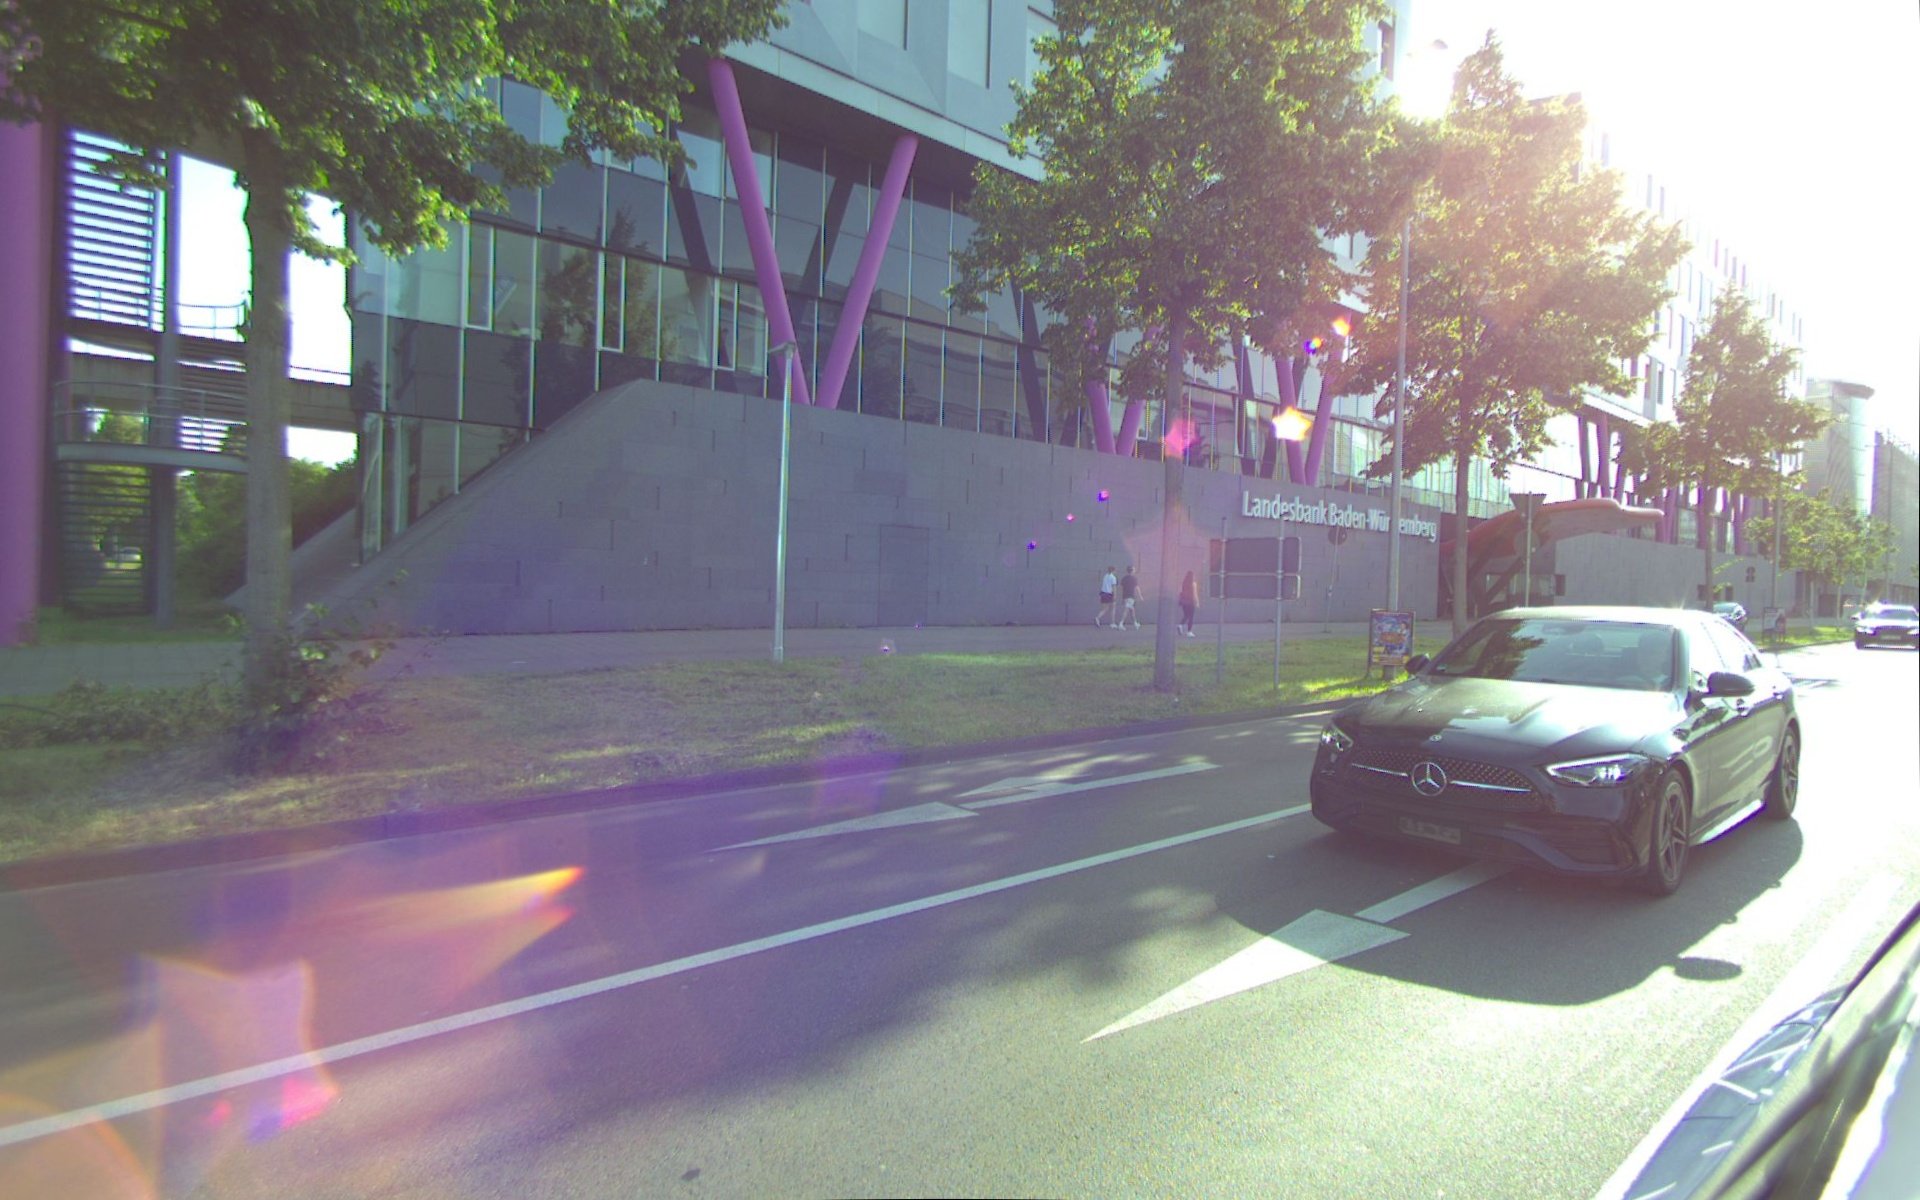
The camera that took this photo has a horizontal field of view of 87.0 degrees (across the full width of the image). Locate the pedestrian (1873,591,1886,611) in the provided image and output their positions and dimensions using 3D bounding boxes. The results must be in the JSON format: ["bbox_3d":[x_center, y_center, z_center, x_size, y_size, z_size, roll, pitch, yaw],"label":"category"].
[{"bbox_3d":[82.922,0.104,91.292,0.758,1.808,0.725,1,1,-41],"label":"pedestrian"}]

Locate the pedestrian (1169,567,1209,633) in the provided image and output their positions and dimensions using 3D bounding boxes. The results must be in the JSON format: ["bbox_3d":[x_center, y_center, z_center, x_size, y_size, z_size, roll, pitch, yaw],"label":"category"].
[{"bbox_3d":[5.866,-0.017,25.936,0.724,1.659,0.695,1,0,-41],"label":"pedestrian"}]

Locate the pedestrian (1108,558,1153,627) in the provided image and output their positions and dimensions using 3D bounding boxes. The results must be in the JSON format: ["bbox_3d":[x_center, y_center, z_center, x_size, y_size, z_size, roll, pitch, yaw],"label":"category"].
[{"bbox_3d":[4.624,-0.199,27.449,0.829,1.815,0.756,1,3,-41],"label":"pedestrian"}]

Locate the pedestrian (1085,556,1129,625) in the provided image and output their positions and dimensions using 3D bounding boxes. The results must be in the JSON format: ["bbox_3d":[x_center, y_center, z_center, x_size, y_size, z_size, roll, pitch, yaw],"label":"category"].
[{"bbox_3d":[4.066,-0.266,28.015,0.838,1.847,0.769,1,3,-41],"label":"pedestrian"}]

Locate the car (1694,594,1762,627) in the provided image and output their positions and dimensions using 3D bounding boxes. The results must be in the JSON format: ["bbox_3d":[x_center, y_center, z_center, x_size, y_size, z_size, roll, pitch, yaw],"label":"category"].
[{"bbox_3d":[34.838,0.476,45.890,4.126,1.407,1.694,1,1,-42],"label":"car"}]

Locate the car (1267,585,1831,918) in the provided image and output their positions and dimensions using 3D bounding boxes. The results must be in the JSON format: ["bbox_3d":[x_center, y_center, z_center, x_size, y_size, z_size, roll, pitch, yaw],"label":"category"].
[{"bbox_3d":[4.089,0.693,6.662,4.475,1.468,1.842,1,0,-41],"label":"car"}]

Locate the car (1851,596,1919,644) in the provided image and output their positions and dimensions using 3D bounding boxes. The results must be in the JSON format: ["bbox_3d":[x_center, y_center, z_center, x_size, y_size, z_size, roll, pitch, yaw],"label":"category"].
[{"bbox_3d":[31.956,0.644,34.515,1.884,1.444,4.416,1,2,36],"label":"car"}]
